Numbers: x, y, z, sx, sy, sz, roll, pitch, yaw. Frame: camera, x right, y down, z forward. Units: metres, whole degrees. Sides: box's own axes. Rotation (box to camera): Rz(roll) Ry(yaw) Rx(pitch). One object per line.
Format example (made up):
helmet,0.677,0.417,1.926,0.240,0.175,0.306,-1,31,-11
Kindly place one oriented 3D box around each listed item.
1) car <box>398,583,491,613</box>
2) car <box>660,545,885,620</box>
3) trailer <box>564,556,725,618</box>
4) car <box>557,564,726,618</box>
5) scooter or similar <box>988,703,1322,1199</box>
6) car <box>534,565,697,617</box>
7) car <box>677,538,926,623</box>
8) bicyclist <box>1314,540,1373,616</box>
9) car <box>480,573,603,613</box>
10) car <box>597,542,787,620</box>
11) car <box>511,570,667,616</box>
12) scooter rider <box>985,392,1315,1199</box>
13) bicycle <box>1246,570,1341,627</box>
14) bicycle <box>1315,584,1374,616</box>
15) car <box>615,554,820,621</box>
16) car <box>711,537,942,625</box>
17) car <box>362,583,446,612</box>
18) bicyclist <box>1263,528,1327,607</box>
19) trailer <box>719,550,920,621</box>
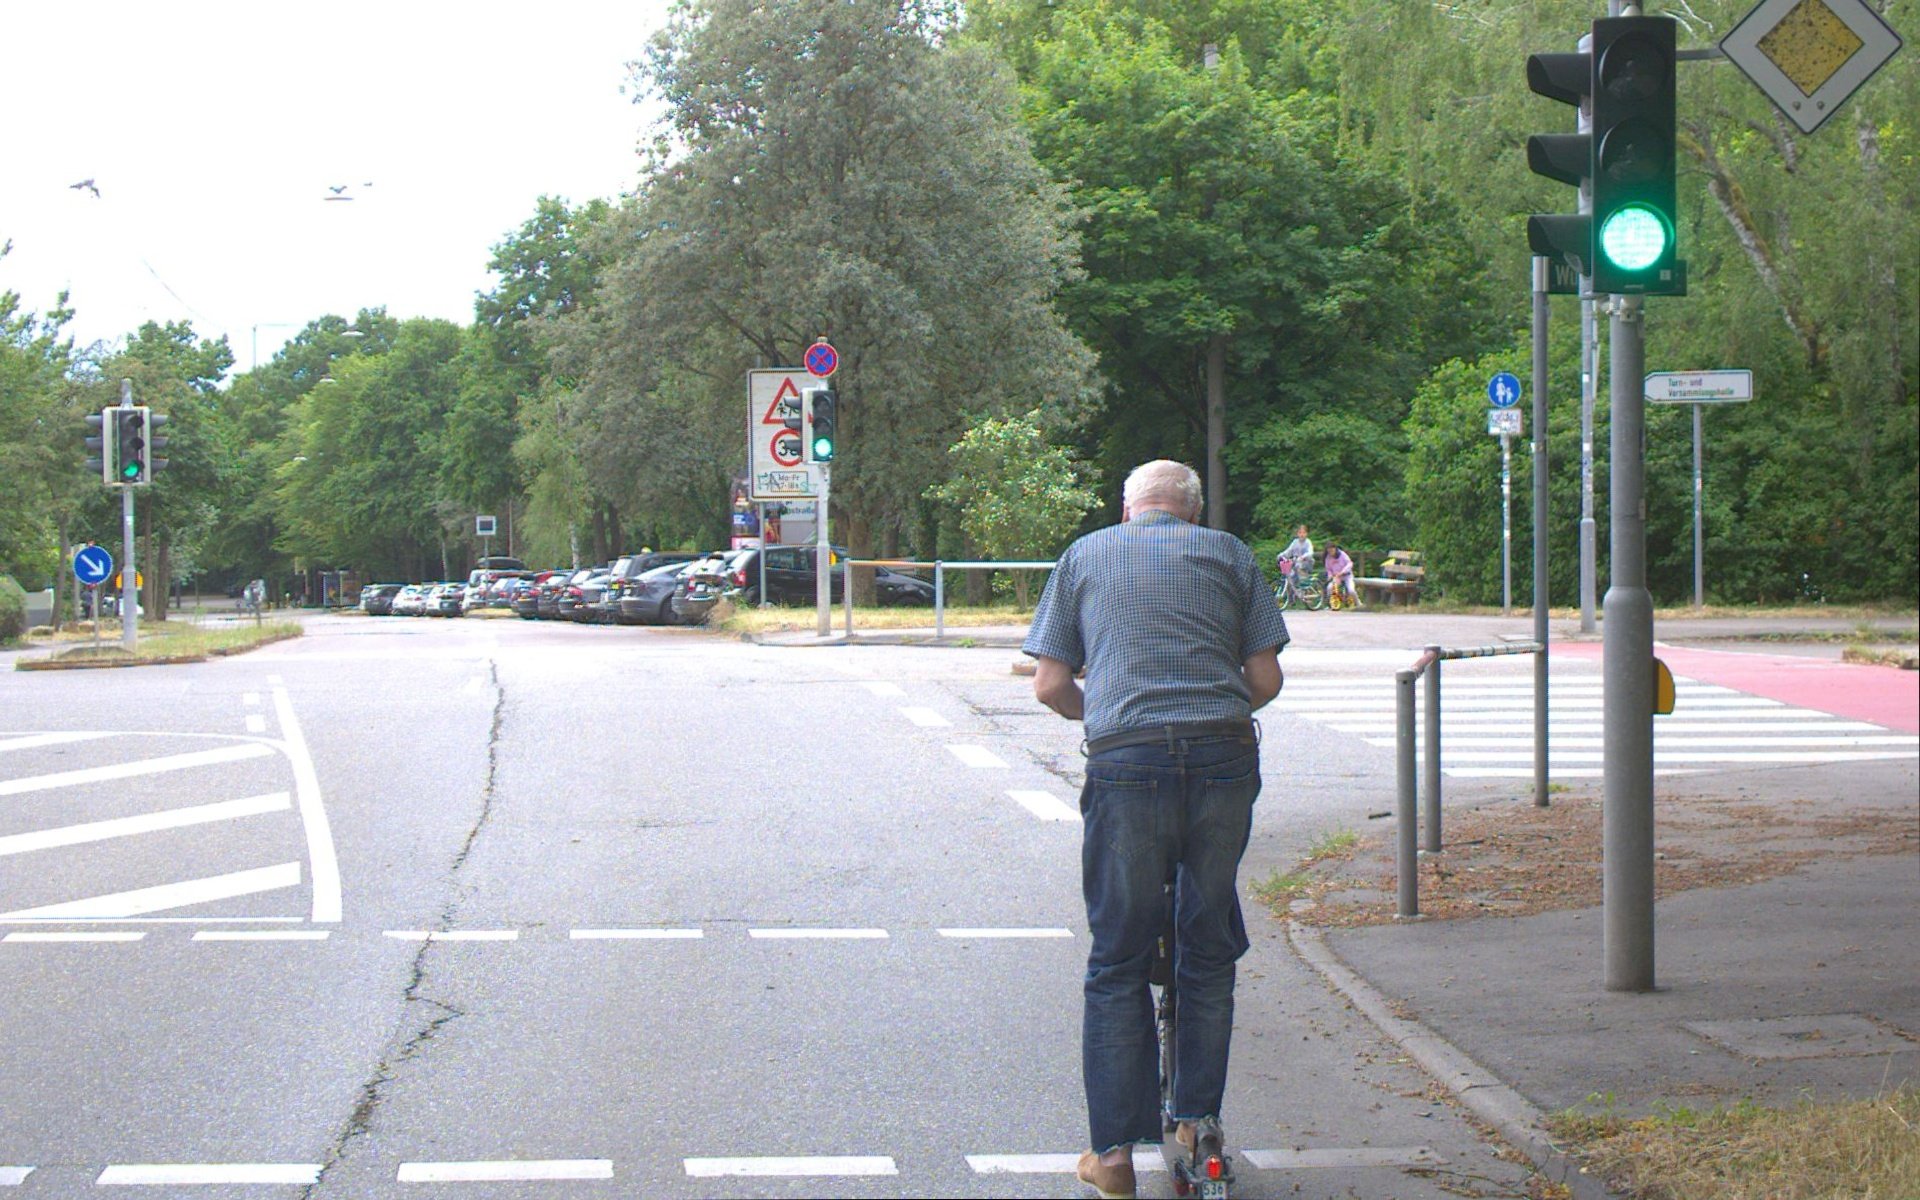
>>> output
car,-23.673,-0.088,157.922,3.885,1.305,1.743,-1,0,-35
car,-3.762,-0.353,69.009,4.218,1.459,1.635,-1,0,-20
trailer,-7.861,-0.327,85.684,3.687,1.530,1.646,0,0,-22
car,-8.143,-0.234,87.958,4.036,1.323,1.560,-1,-1,-20
scooter or similar,0.441,0.850,7.808,0.681,1.135,1.460,0,2,3
car,-9.828,-0.273,98.117,4.343,1.440,1.634,0,0,-25
car,-2.826,-0.353,61.300,4.134,1.471,1.577,0,0,-21
bicyclist,6.086,-0.346,54.534,0.519,1.183,0.965,-2,-1,34
car,-14.745,-0.248,121.117,3.964,1.401,1.757,0,0,-26
car,-6.110,-0.442,78.284,3.985,1.719,1.681,-1,0,-20
car,-11.163,-0.212,103.420,4.312,1.336,1.734,0,0,-25
scooter rider,0.429,0.409,7.769,0.681,1.724,1.196,0,2,3
bicycle,5.171,-0.033,53.181,0.641,0.756,1.677,2,5,39
bicycle,6.099,-0.002,54.514,0.519,0.496,0.986,-2,-1,34
car,-5.326,-0.276,75.538,4.158,1.402,1.698,-1,0,-22
car,-2.291,-0.337,58.751,3.714,1.471,1.577,0,1,-13
car,-28.409,-0.111,175.707,3.884,1.424,1.743,-1,0,-31
bicyclist,5.176,-0.507,53.160,0.641,1.157,0.802,2,5,39
trailer,-2.625,-0.266,64.241,3.401,1.262,1.617,-1,-1,-20
